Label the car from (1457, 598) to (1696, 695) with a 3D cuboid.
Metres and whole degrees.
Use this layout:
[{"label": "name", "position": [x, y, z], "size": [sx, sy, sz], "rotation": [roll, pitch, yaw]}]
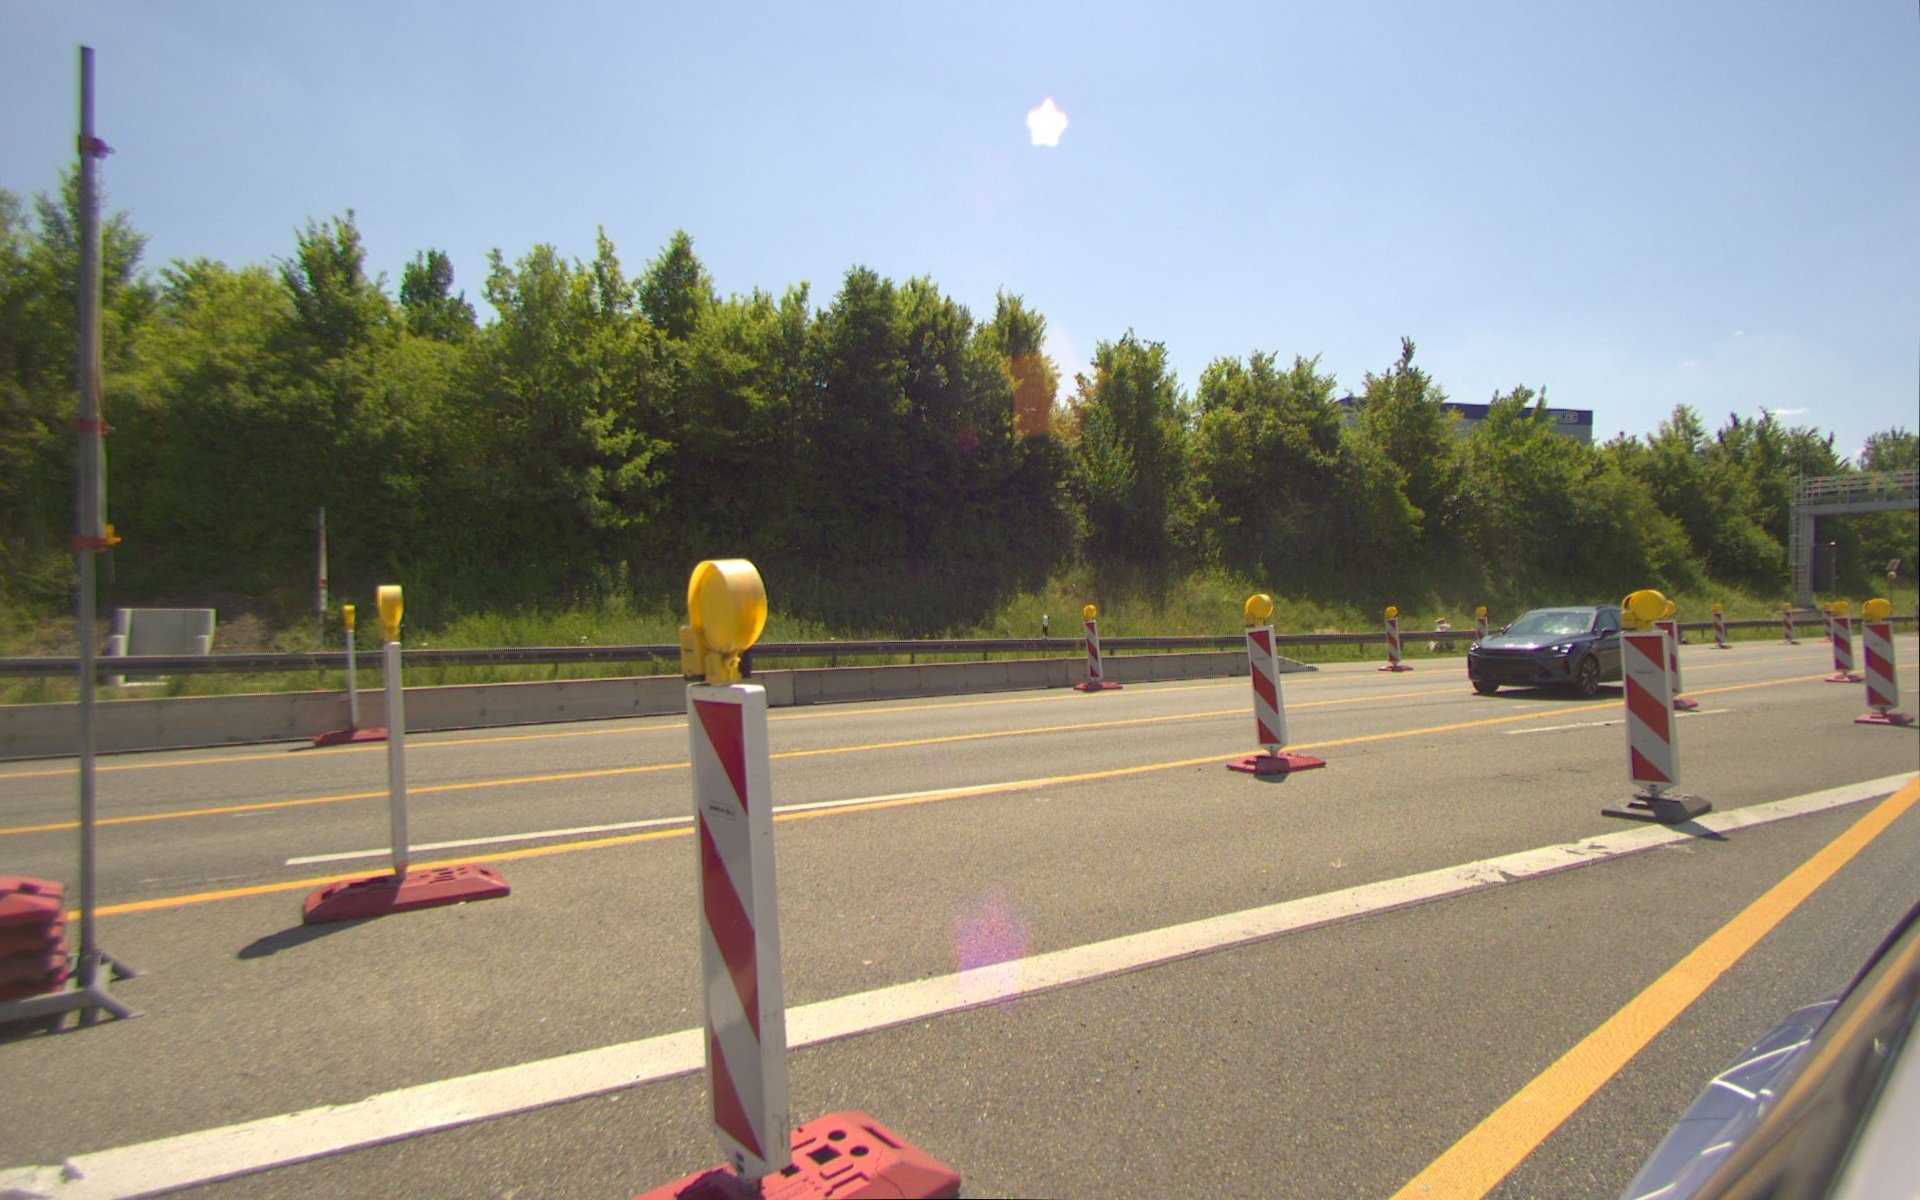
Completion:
[{"label": "car", "position": [10.966, 0.720, 17.901], "size": [4.589, 1.505, 1.999], "rotation": [0, 0, -36]}]
